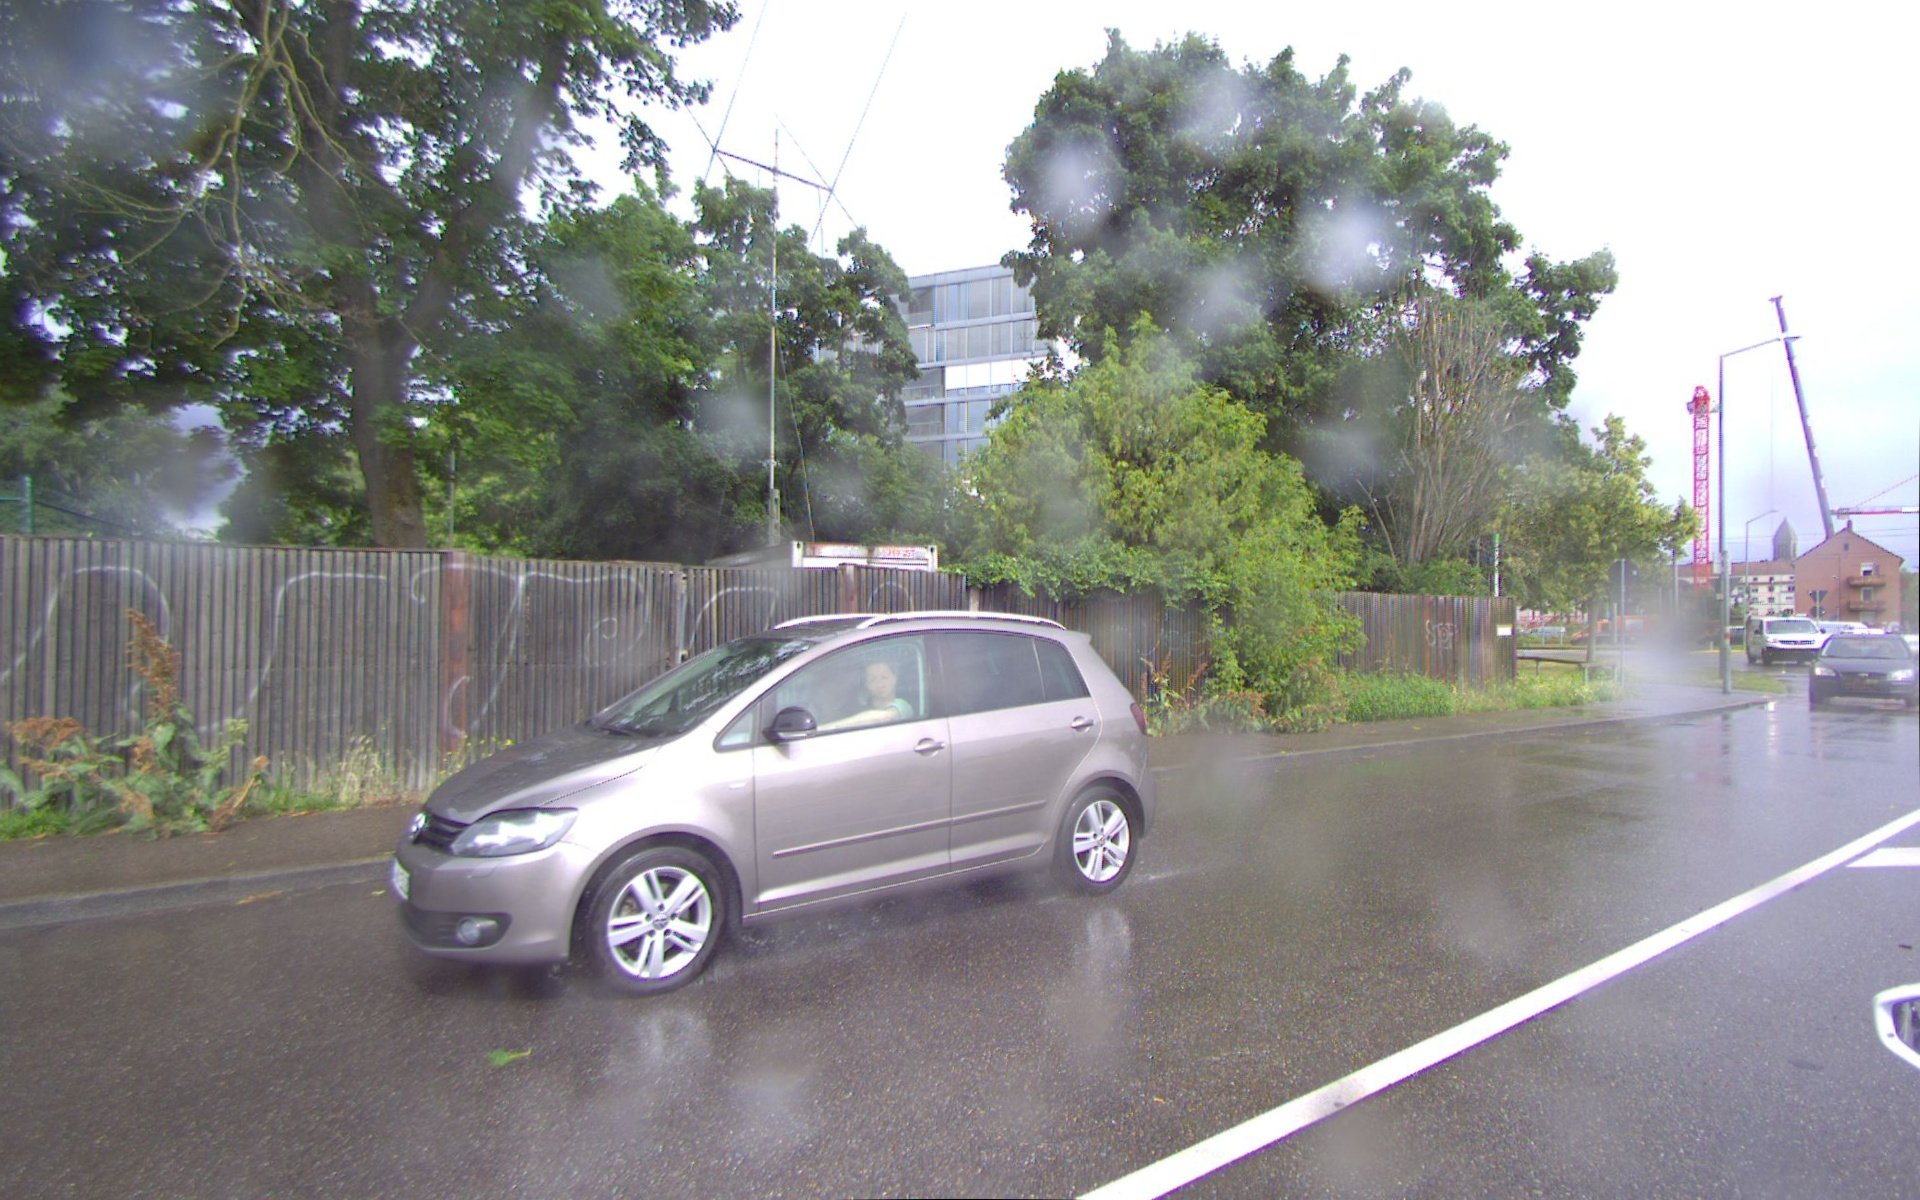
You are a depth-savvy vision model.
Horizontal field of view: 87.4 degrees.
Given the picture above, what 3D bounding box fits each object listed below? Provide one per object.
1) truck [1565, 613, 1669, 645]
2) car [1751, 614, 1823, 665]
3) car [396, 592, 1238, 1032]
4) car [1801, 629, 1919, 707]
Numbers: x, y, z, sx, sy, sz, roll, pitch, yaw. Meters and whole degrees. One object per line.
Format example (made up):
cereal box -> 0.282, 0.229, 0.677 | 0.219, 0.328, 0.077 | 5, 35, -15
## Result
truck -> 52.816, 2.298, 80.904 | 2.413, 2.475, 6.650 | 1, -2, -38
car -> 33.317, 1.551, 40.564 | 1.863, 1.901, 5.115 | -1, -2, 36
car -> -0.564, 0.851, 5.659 | 4.385, 1.572, 1.769 | 1, -4, -37
car -> 19.636, 1.410, 21.607 | 4.148, 1.502, 1.857 | 2, -2, -42
